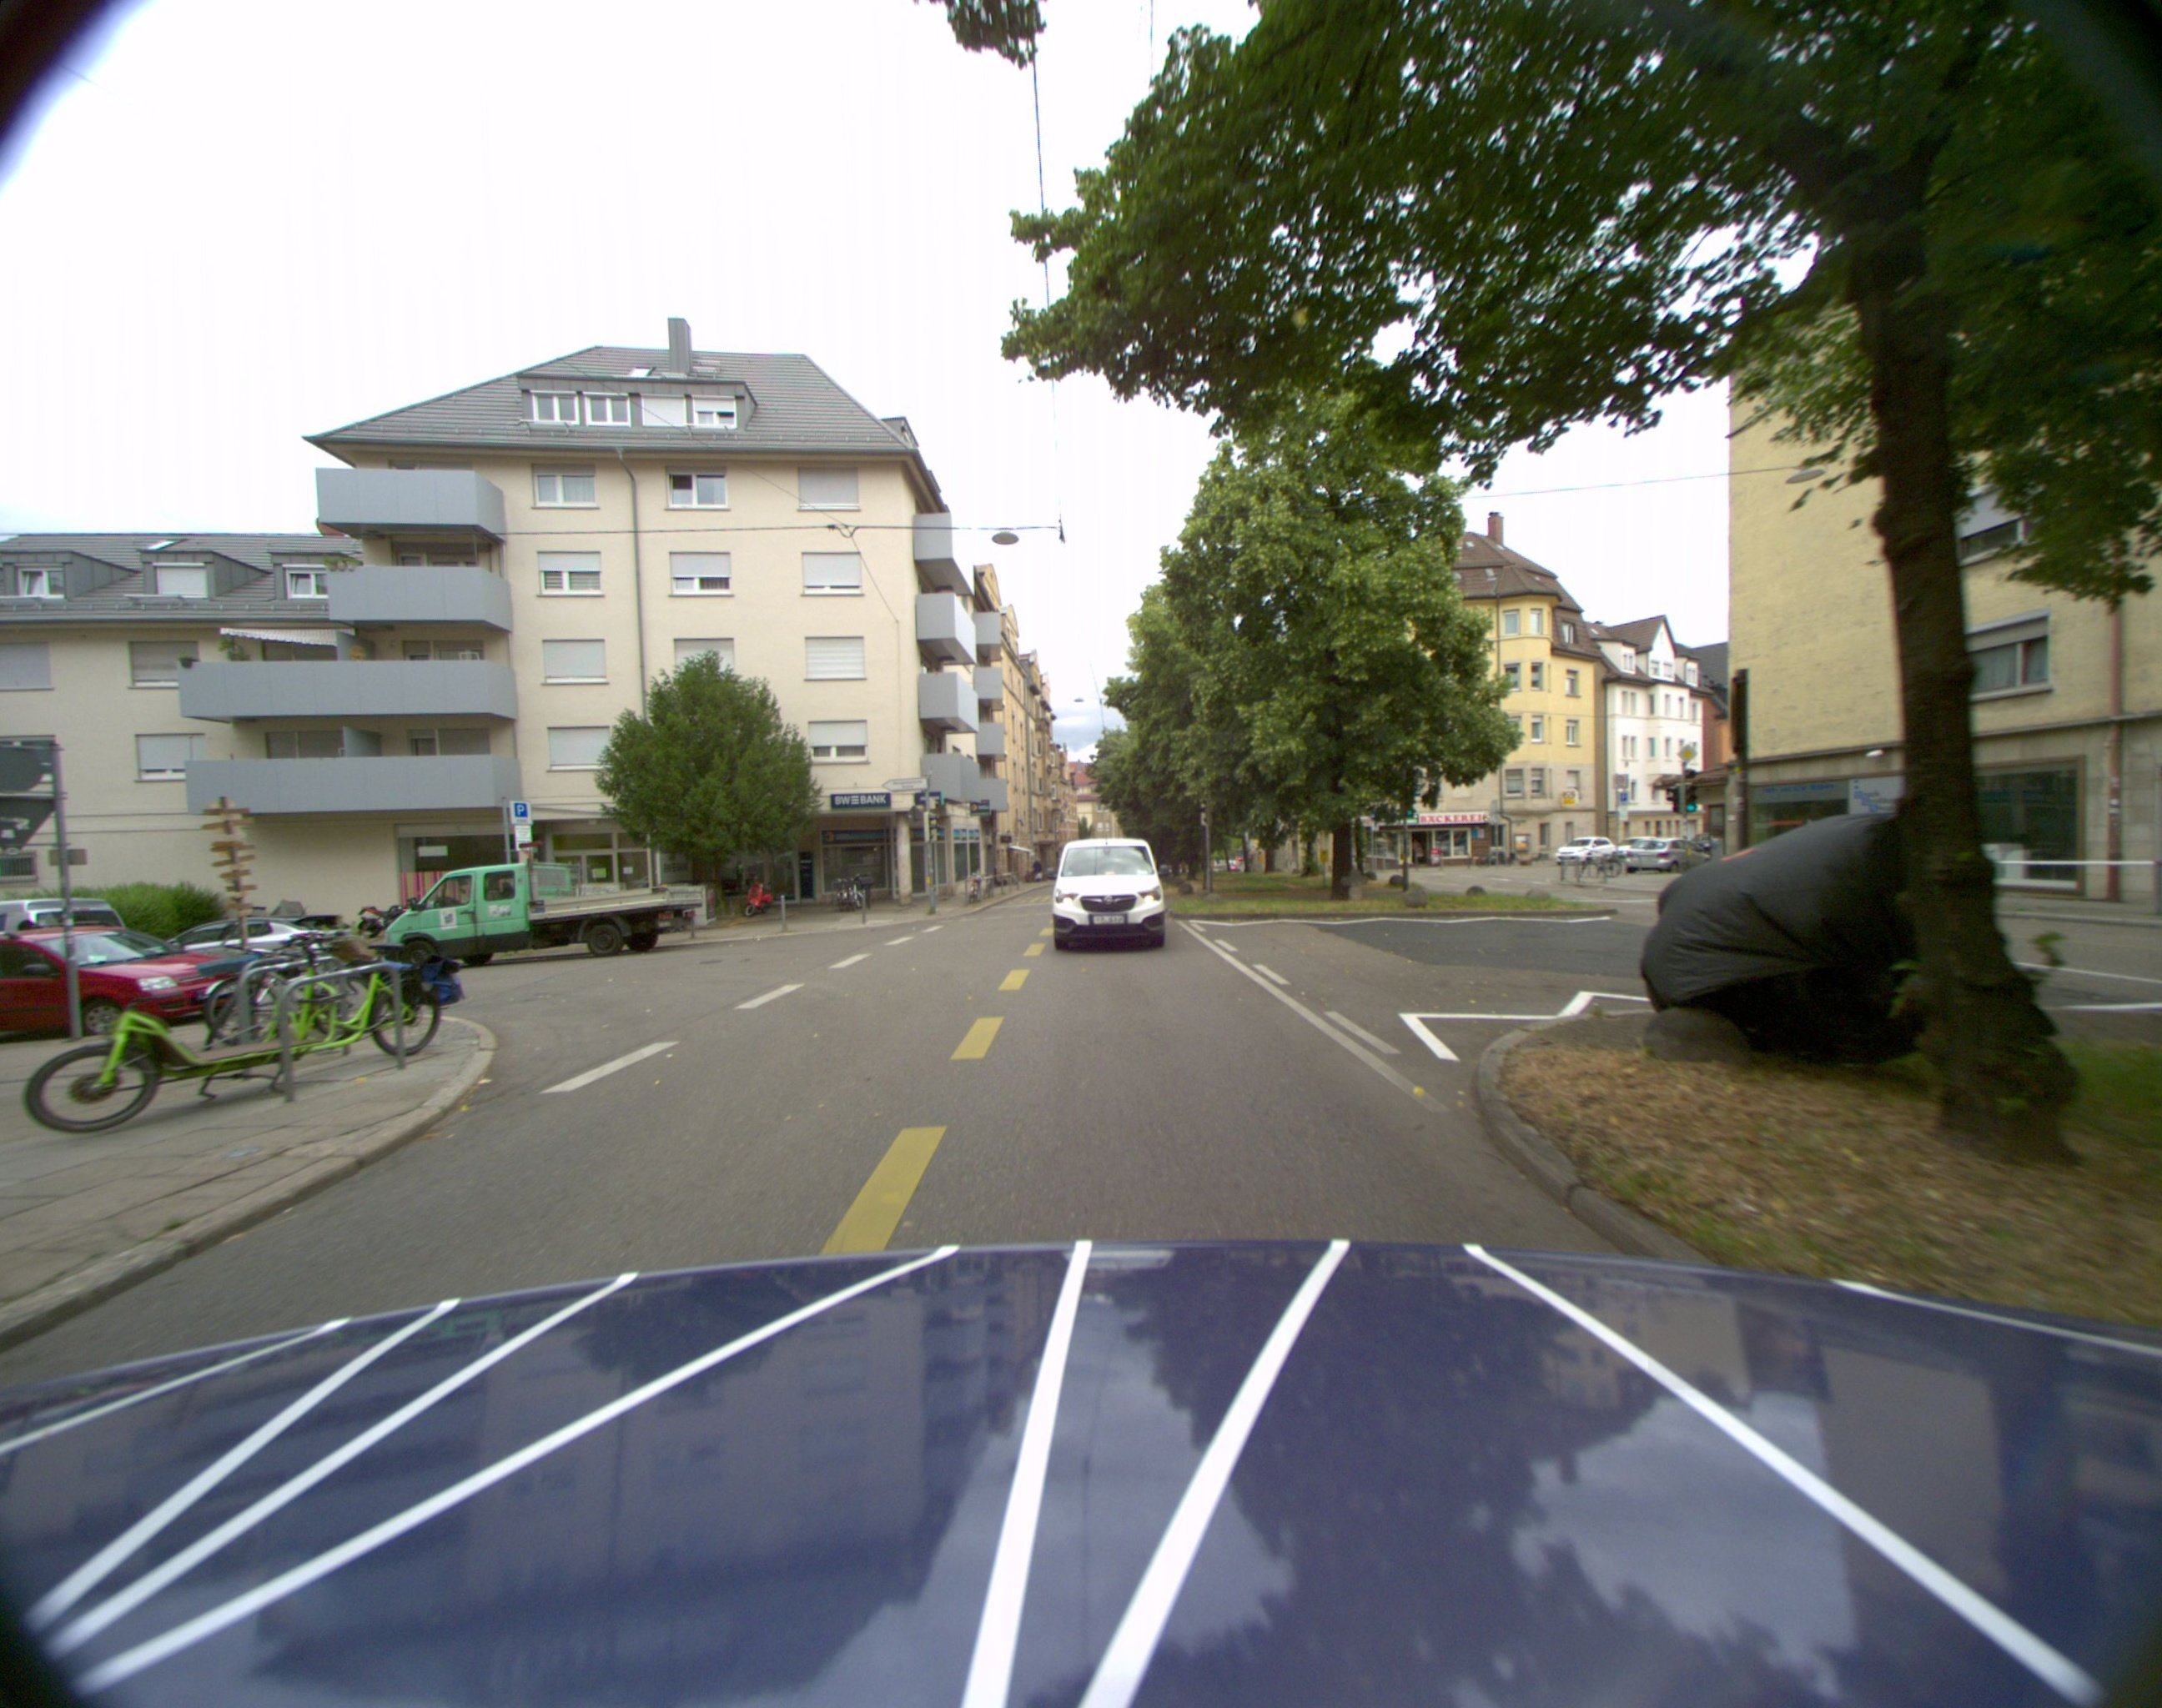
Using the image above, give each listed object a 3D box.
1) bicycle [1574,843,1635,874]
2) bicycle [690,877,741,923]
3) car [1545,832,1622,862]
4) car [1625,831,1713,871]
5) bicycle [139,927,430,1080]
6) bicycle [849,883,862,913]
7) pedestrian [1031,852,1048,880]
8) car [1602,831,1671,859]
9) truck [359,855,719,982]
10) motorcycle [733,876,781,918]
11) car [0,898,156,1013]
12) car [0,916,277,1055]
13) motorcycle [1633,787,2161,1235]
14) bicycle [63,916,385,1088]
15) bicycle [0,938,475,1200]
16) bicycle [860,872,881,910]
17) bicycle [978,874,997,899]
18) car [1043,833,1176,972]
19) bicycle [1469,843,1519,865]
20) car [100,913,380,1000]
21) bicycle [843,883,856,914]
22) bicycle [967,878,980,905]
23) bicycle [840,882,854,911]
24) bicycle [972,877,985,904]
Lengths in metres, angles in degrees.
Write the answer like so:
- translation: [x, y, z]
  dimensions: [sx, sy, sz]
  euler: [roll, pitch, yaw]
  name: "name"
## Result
- translation: [20.926, 0.214, 30.448]
  dimensions: [0.684, 1.142, 2.057]
  euler: [-4, -1, -11]
  name: "bicycle"
- translation: [-11.020, 1.361, 22.971]
  dimensions: [0.439, 1.248, 1.884]
  euler: [-3, 0, 4]
  name: "bicycle"
- translation: [28.360, -0.417, 42.907]
  dimensions: [3.812, 1.533, 1.979]
  euler: [-3, 1, -27]
  name: "car"
- translation: [25.405, -0.130, 32.816]
  dimensions: [3.646, 1.532, 1.686]
  euler: [-3, -1, -30]
  name: "car"
- translation: [-7.859, 1.408, 7.679]
  dimensions: [0.683, 1.142, 2.059]
  euler: [-4, -1, 1]
  name: "bicycle"
- translation: [-7.340, 1.430, 24.754]
  dimensions: [0.120, 0.902, 1.284]
  euler: [-3, 0, -6]
  name: "bicycle"
- translation: [-3.031, 0.866, 55.468]
  dimensions: [1.083, 2.002, 1.204]
  euler: [-3, 0, 2]
  name: "pedestrian"
- translation: [32.807, -0.536, 44.904]
  dimensions: [3.518, 1.533, 1.860]
  euler: [-3, 1, -27]
  name: "car"
- translation: [-11.609, 1.325, 16.795]
  dimensions: [5.859, 2.094, 2.553]
  euler: [-5, -1, -6]
  name: "truck"
- translation: [-10.030, 1.319, 23.581]
  dimensions: [0.591, 1.190, 1.931]
  euler: [0, 0, 2]
  name: "motorcycle"
- translation: [-22.593, 2.193, 15.603]
  dimensions: [4.401, 2.057, 1.988]
  euler: [-5, 0, -3]
  name: "car"
- translation: [-14.523, 1.890, 10.818]
  dimensions: [4.009, 1.486, 1.666]
  euler: [-5, 3, -4]
  name: "car"
- translation: [4.115, 0.562, 3.794]
  dimensions: [0.825, 1.521, 2.624]
  euler: [-2, -2, 2]
  name: "motorcycle"
- translation: [-8.522, 1.385, 7.778]
  dimensions: [0.459, 1.269, 2.386]
  euler: [-3, 0, 2]
  name: "bicycle"
- translation: [-6.002, 1.329, 5.563]
  dimensions: [0.683, 1.142, 2.941]
  euler: [-2, -1, 2]
  name: "bicycle"
- translation: [-7.111, 1.236, 25.656]
  dimensions: [0.400, 1.197, 1.284]
  euler: [-4, 0, -6]
  name: "bicycle"
- translation: [-3.734, 1.291, 30.469]
  dimensions: [0.442, 0.902, 1.285]
  euler: [-3, 0, 6]
  name: "bicycle"
- translation: [0.467, 0.637, 12.493]
  dimensions: [1.745, 1.831, 4.343]
  euler: [-2, 1, 2]
  name: "car"
- translation: [22.982, 0.012, 42.327]
  dimensions: [2.345, 1.094, 0.775]
  euler: [-3, 1, 20]
  name: "bicycle"
- translation: [-17.399, 2.085, 15.889]
  dimensions: [3.796, 1.368, 1.562]
  euler: [-3, 0, -6]
  name: "car"
- translation: [-7.542, 1.431, 24.729]
  dimensions: [0.141, 0.902, 1.249]
  euler: [-2, 1, -6]
  name: "bicycle"
- translation: [-3.905, 1.352, 27.666]
  dimensions: [0.154, 0.902, 1.285]
  euler: [-3, 0, 6]
  name: "bicycle"
- translation: [-7.872, 1.423, 25.553]
  dimensions: [0.184, 0.902, 1.236]
  euler: [-3, 0, -6]
  name: "bicycle"
- translation: [-3.735, 1.323, 27.708]
  dimensions: [0.154, 0.902, 1.285]
  euler: [-3, 0, 6]
  name: "bicycle"
